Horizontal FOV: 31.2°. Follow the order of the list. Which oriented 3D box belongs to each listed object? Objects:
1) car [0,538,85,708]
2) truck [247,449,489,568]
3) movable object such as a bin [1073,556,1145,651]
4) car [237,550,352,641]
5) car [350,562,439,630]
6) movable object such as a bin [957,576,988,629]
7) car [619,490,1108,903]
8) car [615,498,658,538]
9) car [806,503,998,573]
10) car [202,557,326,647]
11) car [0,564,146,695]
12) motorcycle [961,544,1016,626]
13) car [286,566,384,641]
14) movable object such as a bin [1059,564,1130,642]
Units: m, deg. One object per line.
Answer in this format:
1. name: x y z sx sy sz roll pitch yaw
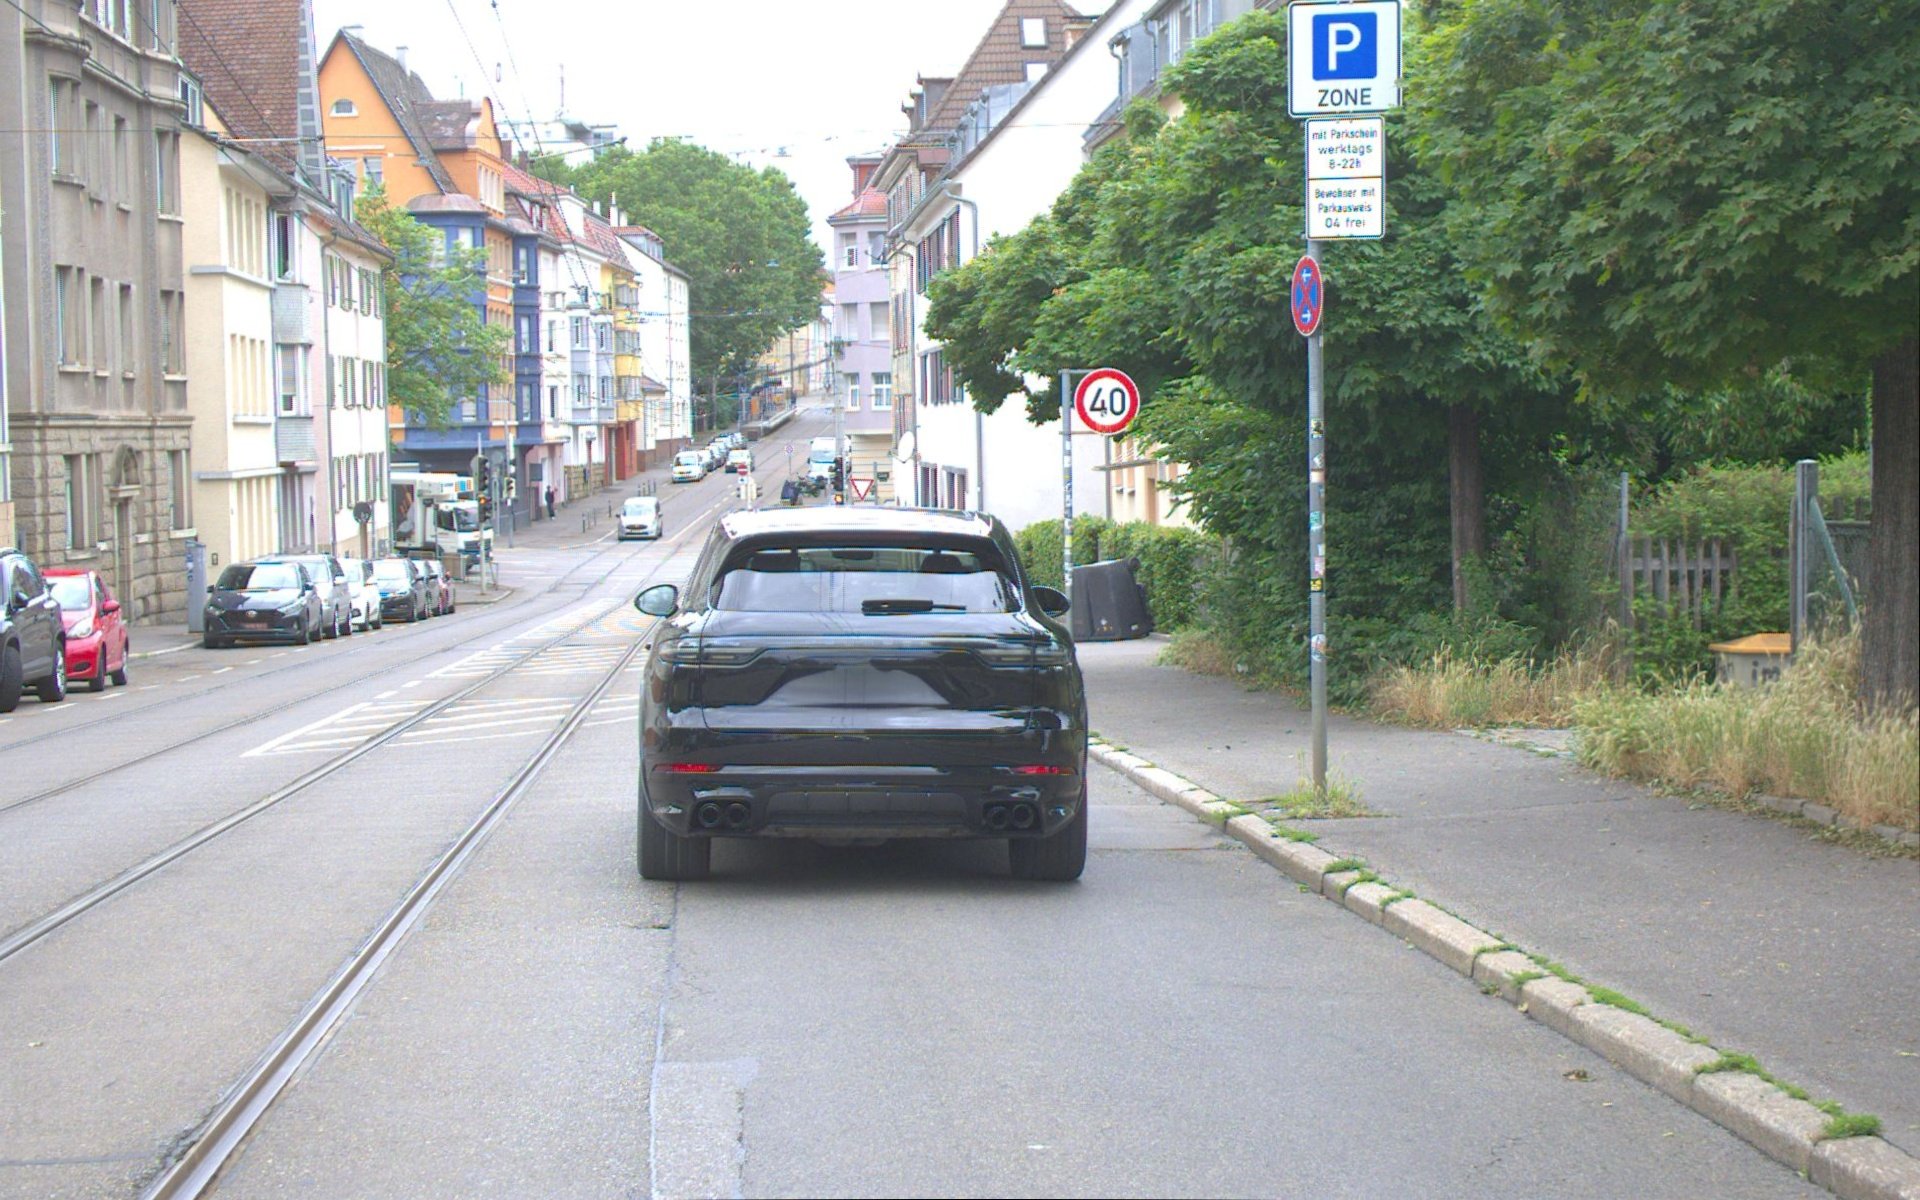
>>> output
1. car: -10.359 0.262 35.426 1.867 1.640 4.403 -2 0 -5
2. truck: -21.986 -3.381 127.763 8.567 4.167 2.259 -1 -2 7
3. movable object such as a bin: 1.927 0.041 44.604 0.792 1.214 0.789 -1 0 -7
4. car: -12.487 -0.067 64.682 1.620 1.599 4.351 -2 0 -5
5. car: -12.952 -0.085 78.879 1.620 1.468 4.556 -2 0 -5
6. movable object such as a bin: 0.258 0.048 69.973 0.588 1.076 0.692 -1 0 -2
7. car: -0.537 0.381 16.258 1.993 1.670 4.001 -1 0 -4
8. car: -14.829 -3.740 157.575 1.751 1.754 4.254 -1 0 -3
9. car: -2.022 -2.135 119.518 6.288 2.282 2.199 -1 0 25
10. car: -12.080 0.040 59.868 1.620 1.458 4.033 -2 0 -5
11. car: -10.891 0.354 41.248 1.620 1.458 3.746 -2 0 -5
12. motorcycle: 0.510 -0.282 63.486 0.838 1.451 2.553 -1 0 -3
13. car: -12.850 0.076 70.822 1.620 1.458 3.685 -2 0 -5
14. movable object such as a bin: 1.770 0.038 45.406 0.792 1.008 0.789 -1 0 -7
